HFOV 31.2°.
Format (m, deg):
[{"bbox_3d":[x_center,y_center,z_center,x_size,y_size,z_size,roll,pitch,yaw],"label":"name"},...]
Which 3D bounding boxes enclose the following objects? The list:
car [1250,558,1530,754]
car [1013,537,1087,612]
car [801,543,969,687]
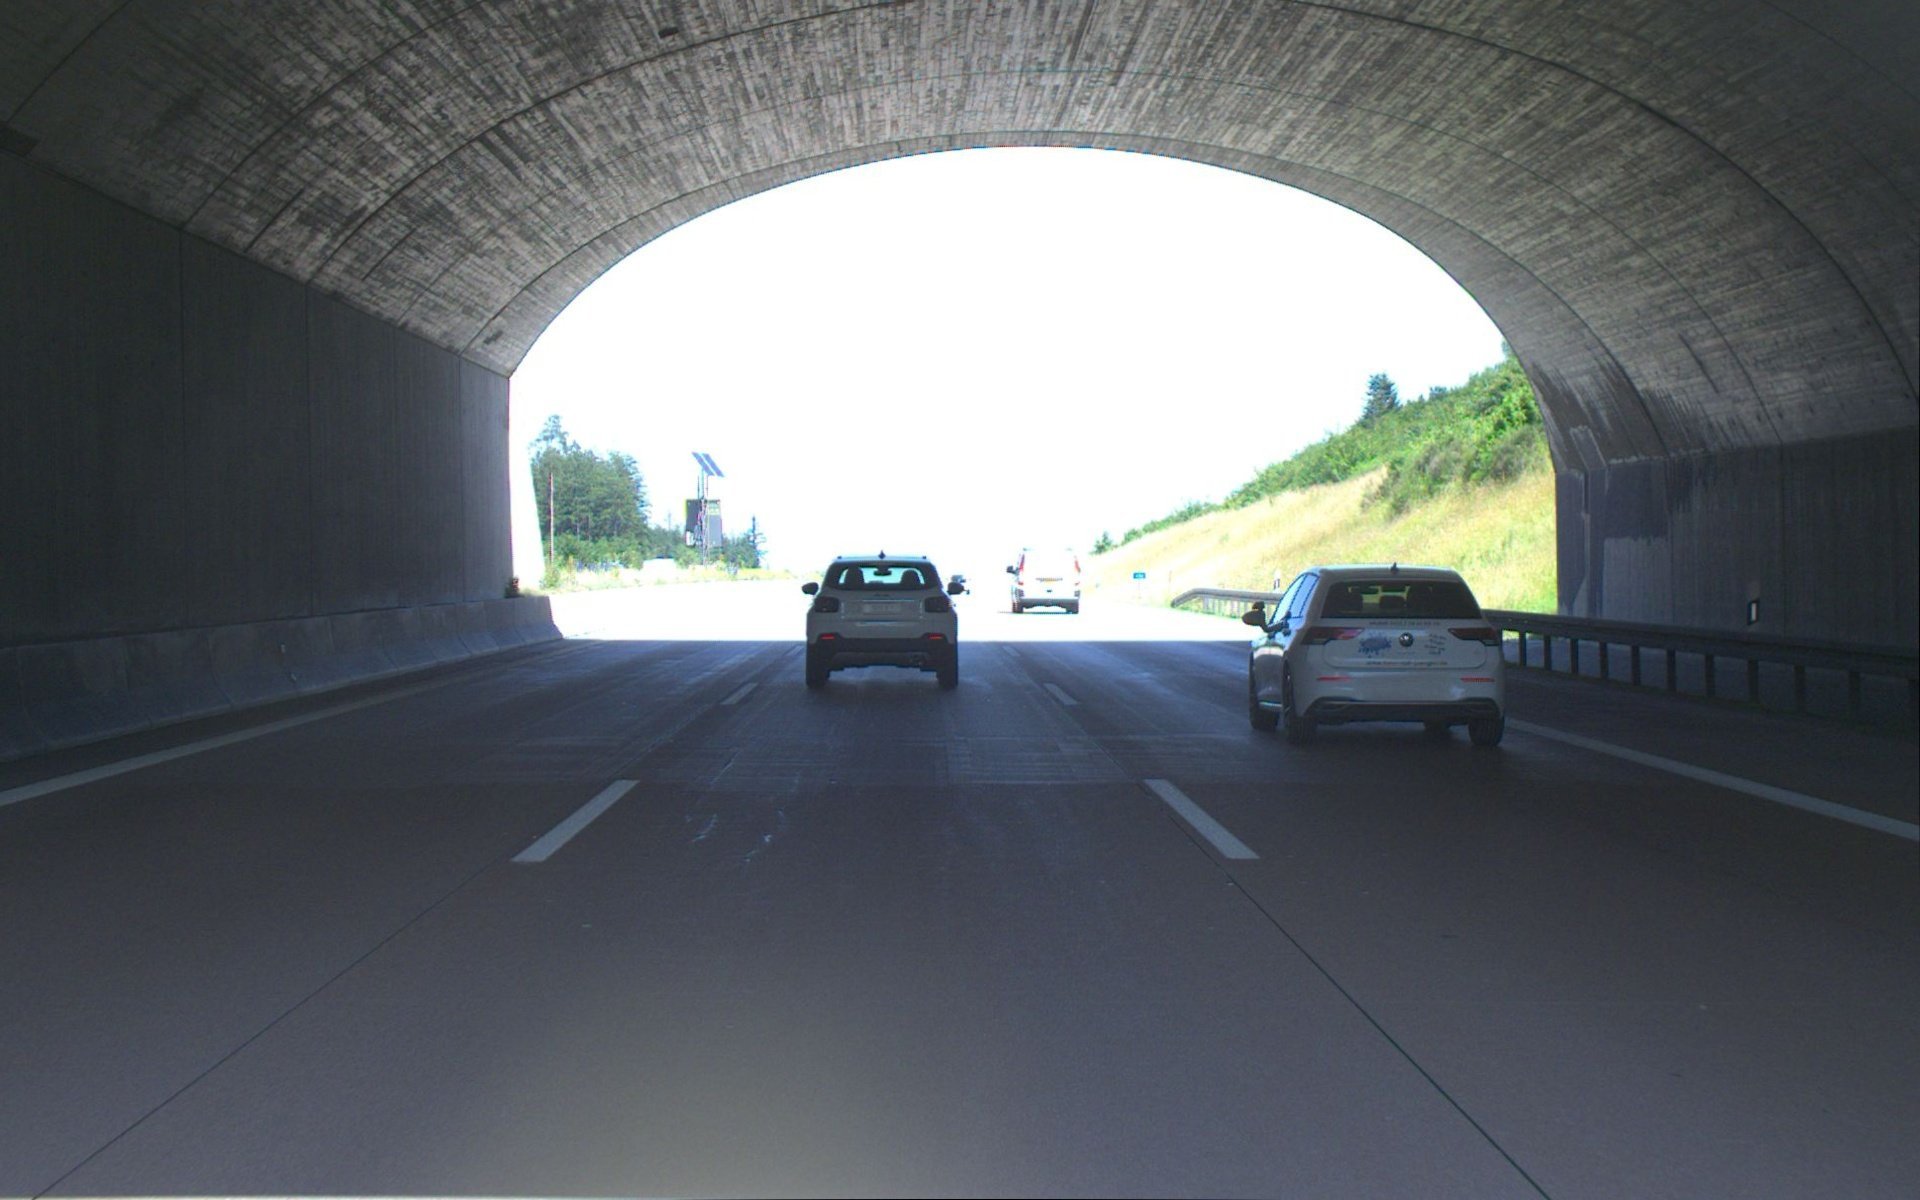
[{"bbox_3d":[3.510,0.413,28.745,1.891,1.393,4.000,1,2,1],"label":"car"},{"bbox_3d":[2.625,-0.769,101.001,2.110,2.046,4.000,1,2,1],"label":"car"},{"bbox_3d":[-0.880,0.139,41.007,1.879,1.602,4.834,0,1,-1],"label":"car"}]
